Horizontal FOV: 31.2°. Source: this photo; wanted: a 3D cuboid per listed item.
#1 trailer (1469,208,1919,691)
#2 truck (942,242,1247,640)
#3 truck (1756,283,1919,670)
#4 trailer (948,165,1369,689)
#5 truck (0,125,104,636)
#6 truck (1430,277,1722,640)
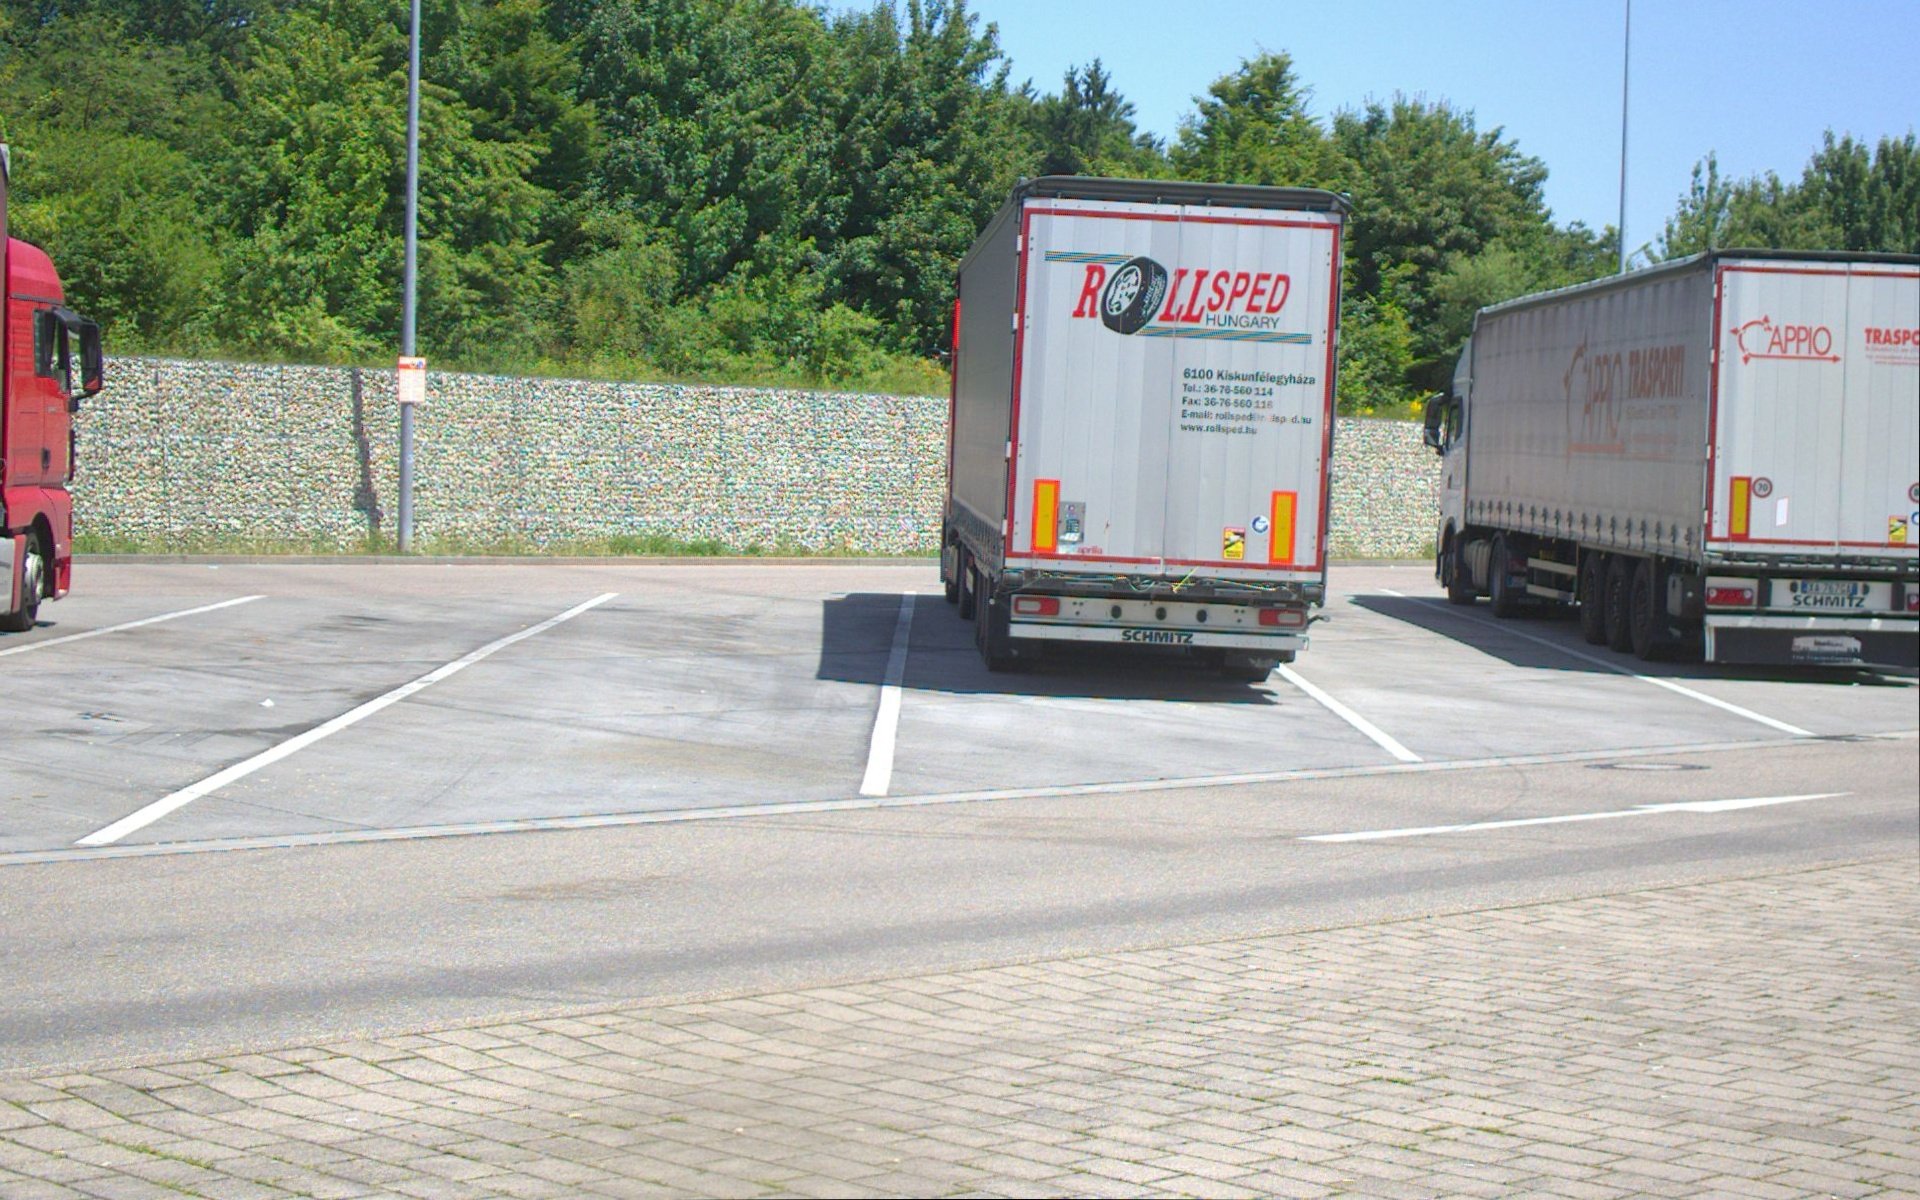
[{"bbox_3d":[8.114,-1.587,38.209,2.681,4.437,12.831,1,2,-1],"label":"trailer"},{"bbox_3d":[1.337,-1.697,37.662,2.871,3.966,6.030,1,2,-2],"label":"truck"},{"bbox_3d":[11.732,-1.345,38.689,2.587,4.211,11.971,1,1,-1],"label":"truck"},{"bbox_3d":[1.511,-1.511,32.161,2.897,4.000,11.319,1,2,-2],"label":"trailer"},{"bbox_3d":[-9.174,-1.803,28.352,2.805,4.119,5.894,1,2,-1],"label":"truck"},{"bbox_3d":[7.982,-1.835,45.272,2.661,4.437,5.864,1,2,-1],"label":"truck"}]
